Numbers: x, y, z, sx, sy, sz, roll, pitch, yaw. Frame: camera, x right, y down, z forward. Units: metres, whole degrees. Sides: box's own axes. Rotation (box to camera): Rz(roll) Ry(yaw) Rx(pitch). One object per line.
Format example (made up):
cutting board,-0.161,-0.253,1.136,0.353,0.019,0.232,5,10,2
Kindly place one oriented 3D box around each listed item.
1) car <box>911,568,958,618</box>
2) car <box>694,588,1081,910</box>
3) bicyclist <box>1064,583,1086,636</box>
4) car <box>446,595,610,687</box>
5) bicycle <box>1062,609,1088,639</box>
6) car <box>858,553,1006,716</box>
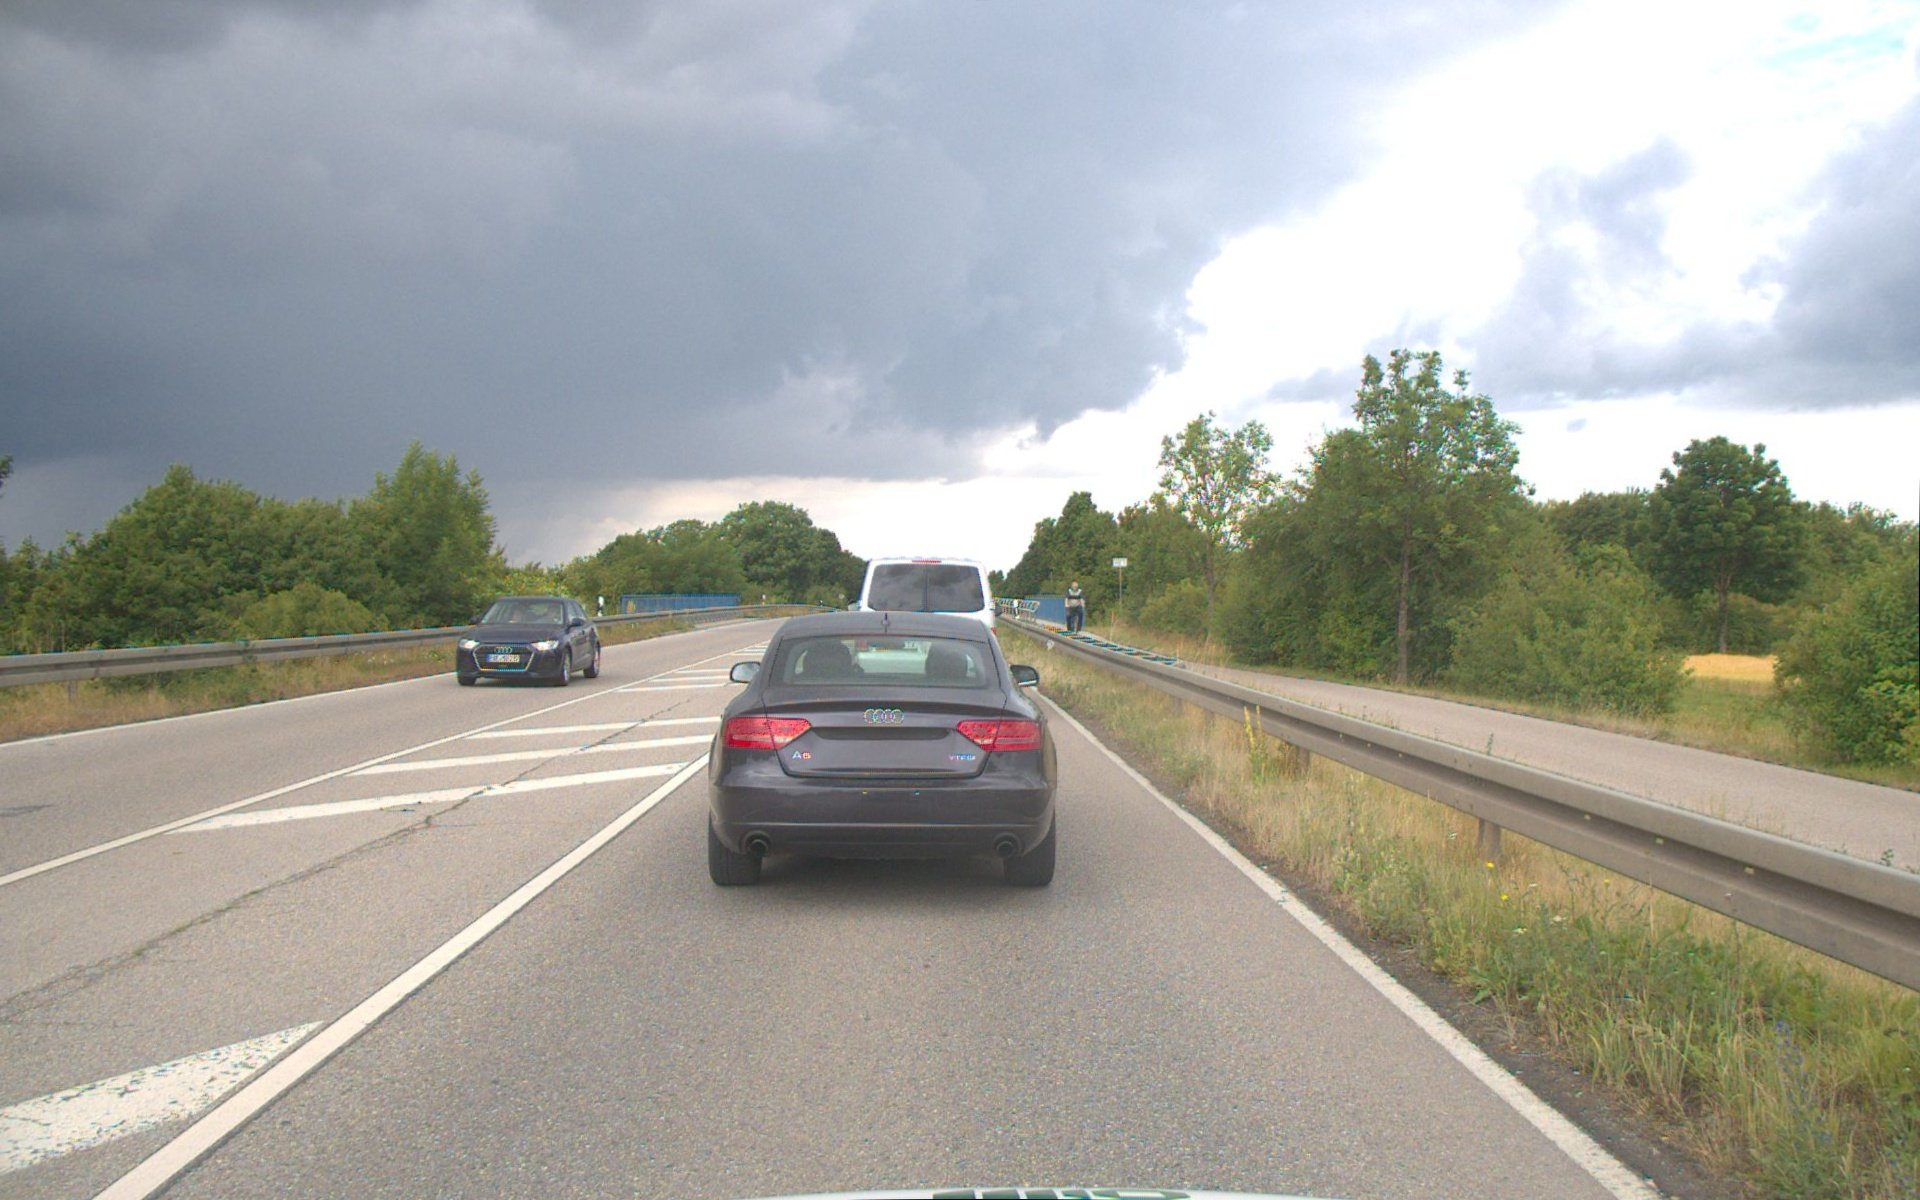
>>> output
car,-1.341,-0.383,88.285,2.397,2.548,5.040,1,0,-1
car,-0.375,0.696,9.573,1.749,1.448,3.999,1,0,-1
bicyclist,3.658,0.291,52.597,0.634,1.674,0.866,0,0,-2
car,-7.123,0.637,27.681,1.825,1.400,3.998,1,0,-3
bicycle,3.655,0.754,52.670,0.652,0.936,1.830,0,0,-1
car,-0.381,0.429,21.811,1.749,1.923,3.999,1,0,-1
